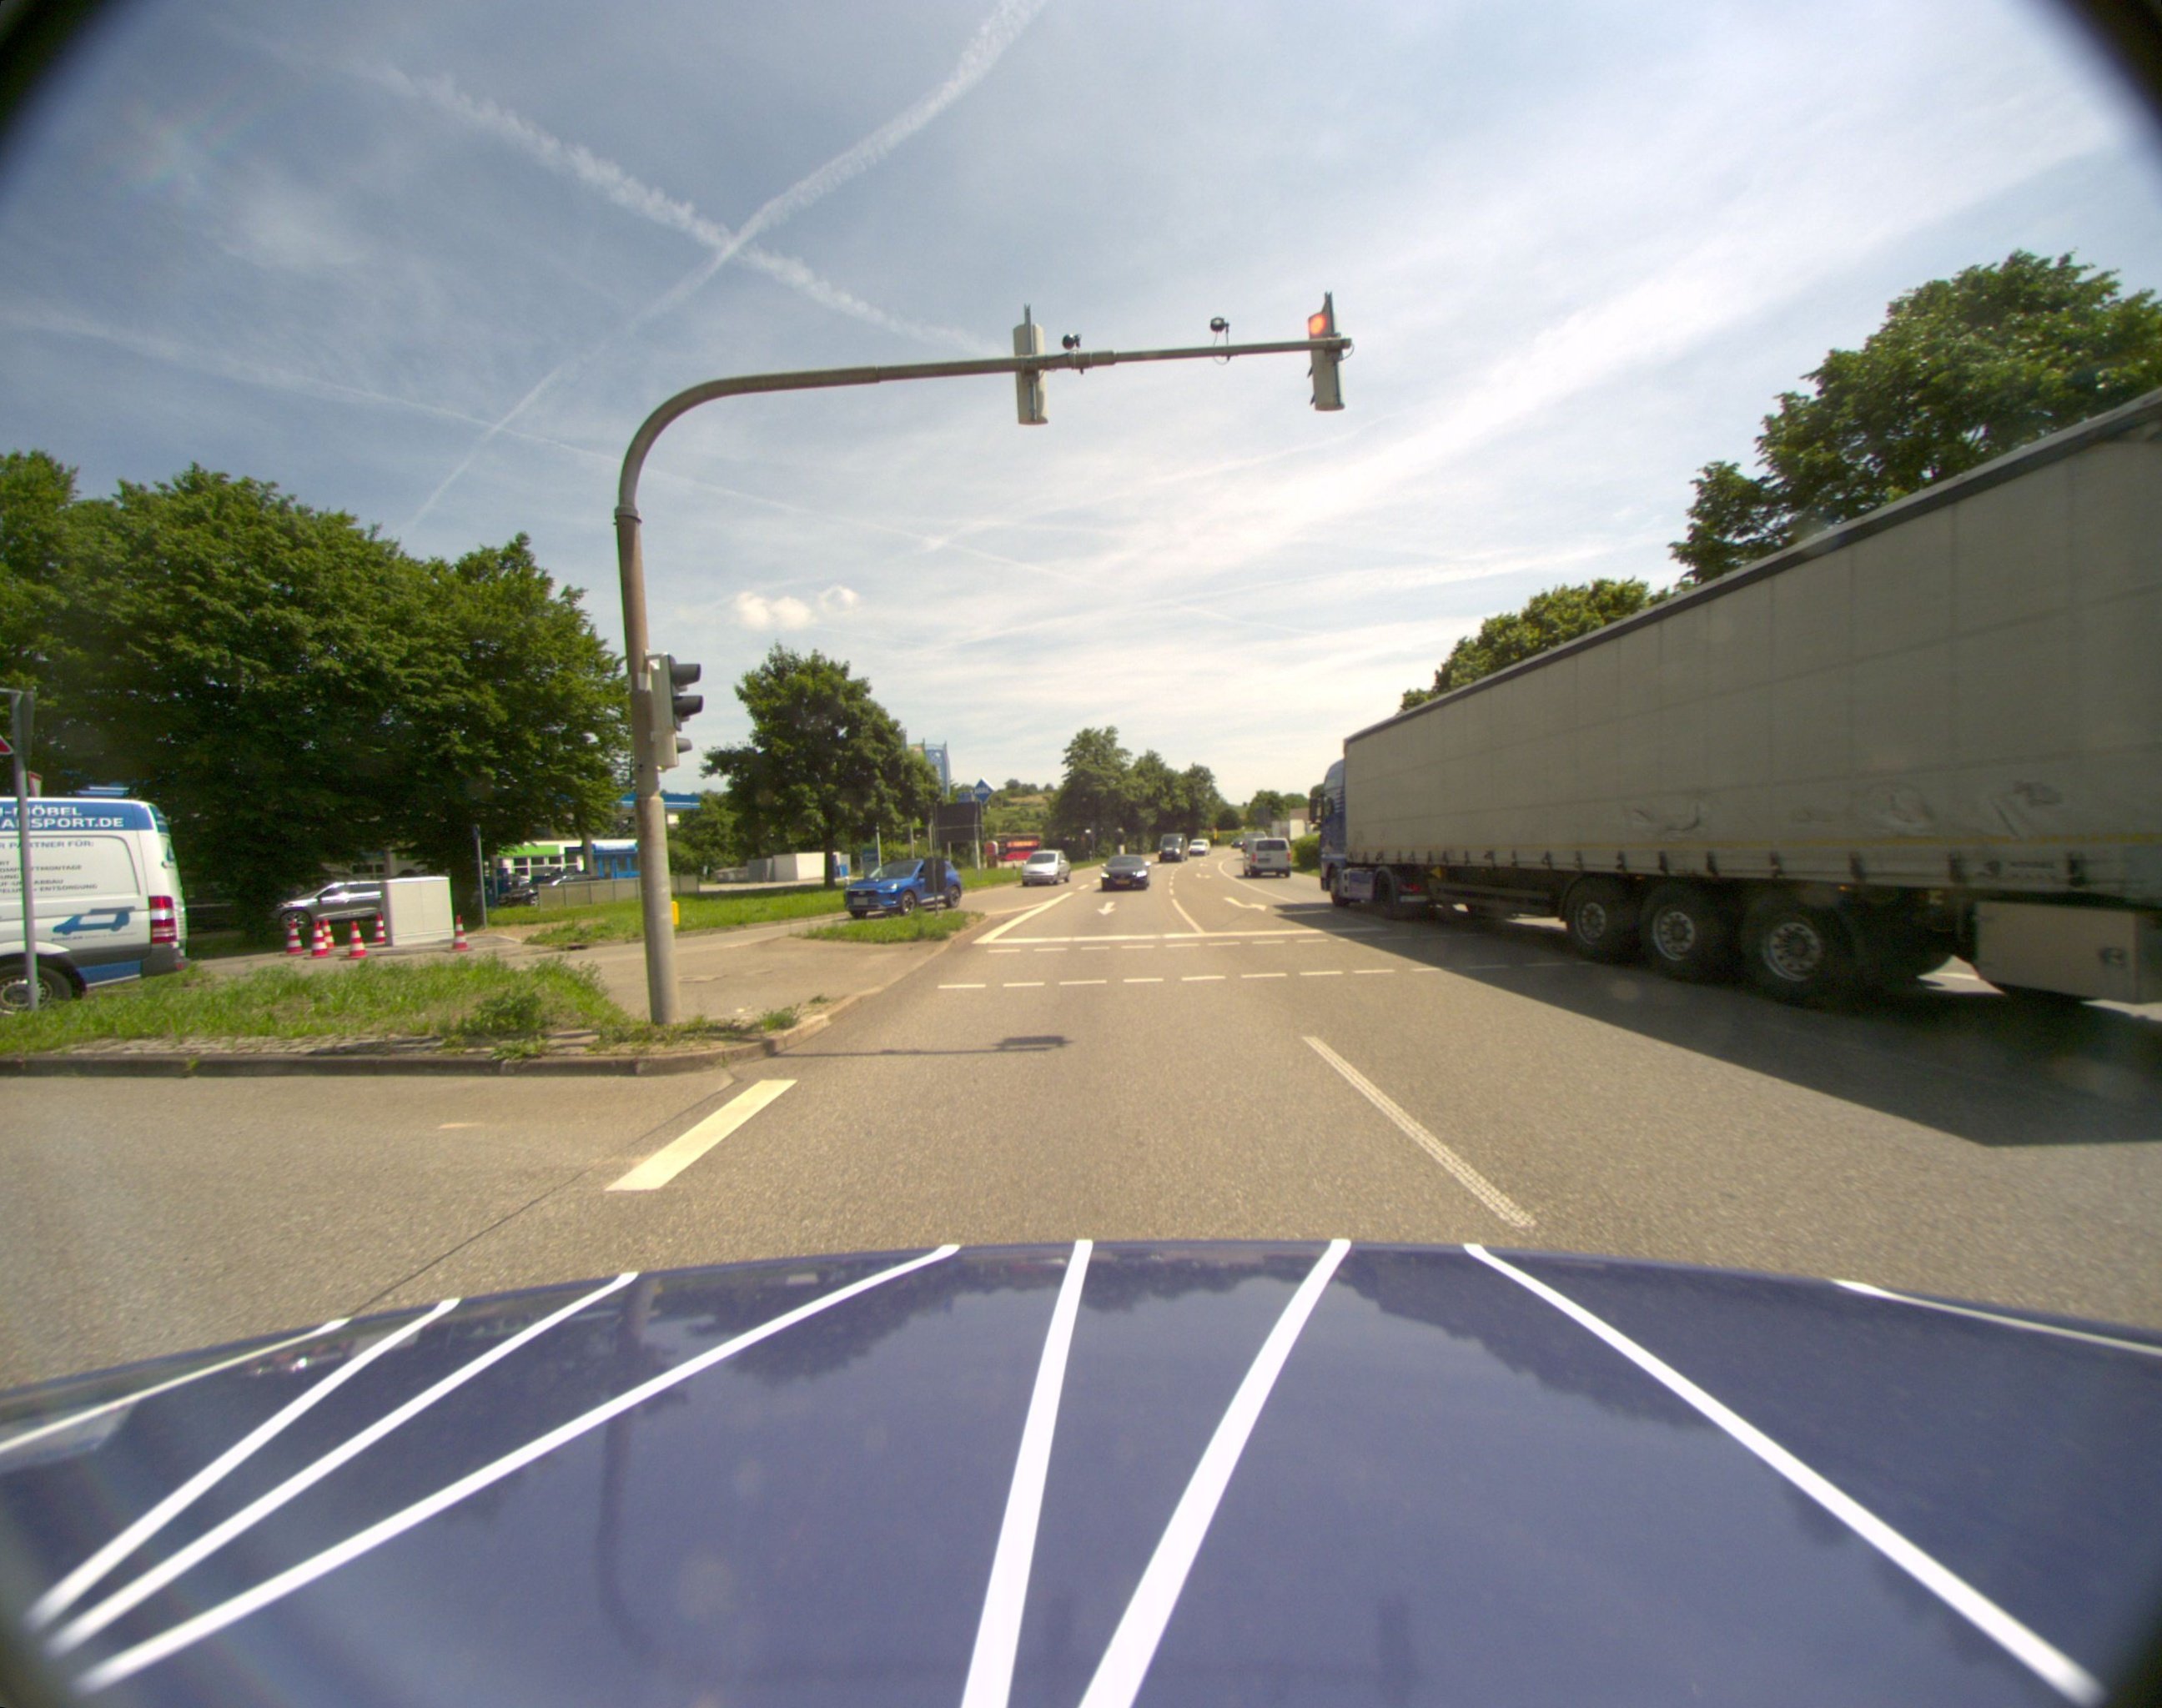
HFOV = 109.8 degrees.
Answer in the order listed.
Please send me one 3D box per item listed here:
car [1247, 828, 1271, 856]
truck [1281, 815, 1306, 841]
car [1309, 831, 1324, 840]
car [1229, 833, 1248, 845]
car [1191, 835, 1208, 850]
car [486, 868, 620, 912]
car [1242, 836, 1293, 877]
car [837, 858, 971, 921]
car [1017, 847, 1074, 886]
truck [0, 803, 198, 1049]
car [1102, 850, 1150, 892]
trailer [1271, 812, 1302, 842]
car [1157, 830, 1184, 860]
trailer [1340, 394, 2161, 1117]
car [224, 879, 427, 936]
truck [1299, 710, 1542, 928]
[{"bbox_3d":[16.512,-1.122,70.831,2.054,2.438,5.273,-1,1,12],"label":"car"},{"bbox_3d":[32.738,-3.999,116.919,2.780,3.921,5.714,0,2,25],"label":"truck"},{"bbox_3d":[50.242,-3.919,162.164,1.805,1.722,4.008,-2,0,35],"label":"car"},{"bbox_3d":[23.710,-2.266,114.027,1.806,1.722,4.007,-2,0,26],"label":"car"},{"bbox_3d":[13.256,-1.306,84.875,1.781,1.484,4.159,-2,2,11],"label":"car"},{"bbox_3d":[-24.432,1.617,35.333,1.995,1.612,4.637,-1,2,29],"label":"car"},{"bbox_3d":[9.233,0.085,38.040,1.874,1.875,4.953,-1,1,7],"label":"car"},{"bbox_3d":[-5.236,1.010,23.148,1.780,1.549,4.393,-2,1,20],"label":"car"},{"bbox_3d":[-1.698,0.583,38.207,1.864,1.682,4.528,-2,2,9],"label":"car"},{"bbox_3d":[-13.839,0.890,7.877,2.068,2.721,5.954,-3,0,42],"label":"truck"},{"bbox_3d":[1.787,0.629,31.086,1.783,1.484,4.157,-2,1,2],"label":"car"},{"bbox_3d":[30.375,-3.915,111.728,2.780,4.079,11.676,0,2,23],"label":"trailer"},{"bbox_3d":[8.135,-0.870,68.591,1.979,2.505,4.160,-2,2,11],"label":"car"},{"bbox_3d":[7.278,-0.620,10.627,2.573,4.006,13.592,-1,1,0],"label":"trailer"},{"bbox_3d":[-28.114,1.907,28.506,2.034,1.594,4.948,-1,2,29],"label":"car"},{"bbox_3d":[7.291,-0.680,17.464,2.573,4.007,6.559,-1,1,0],"label":"truck"}]
